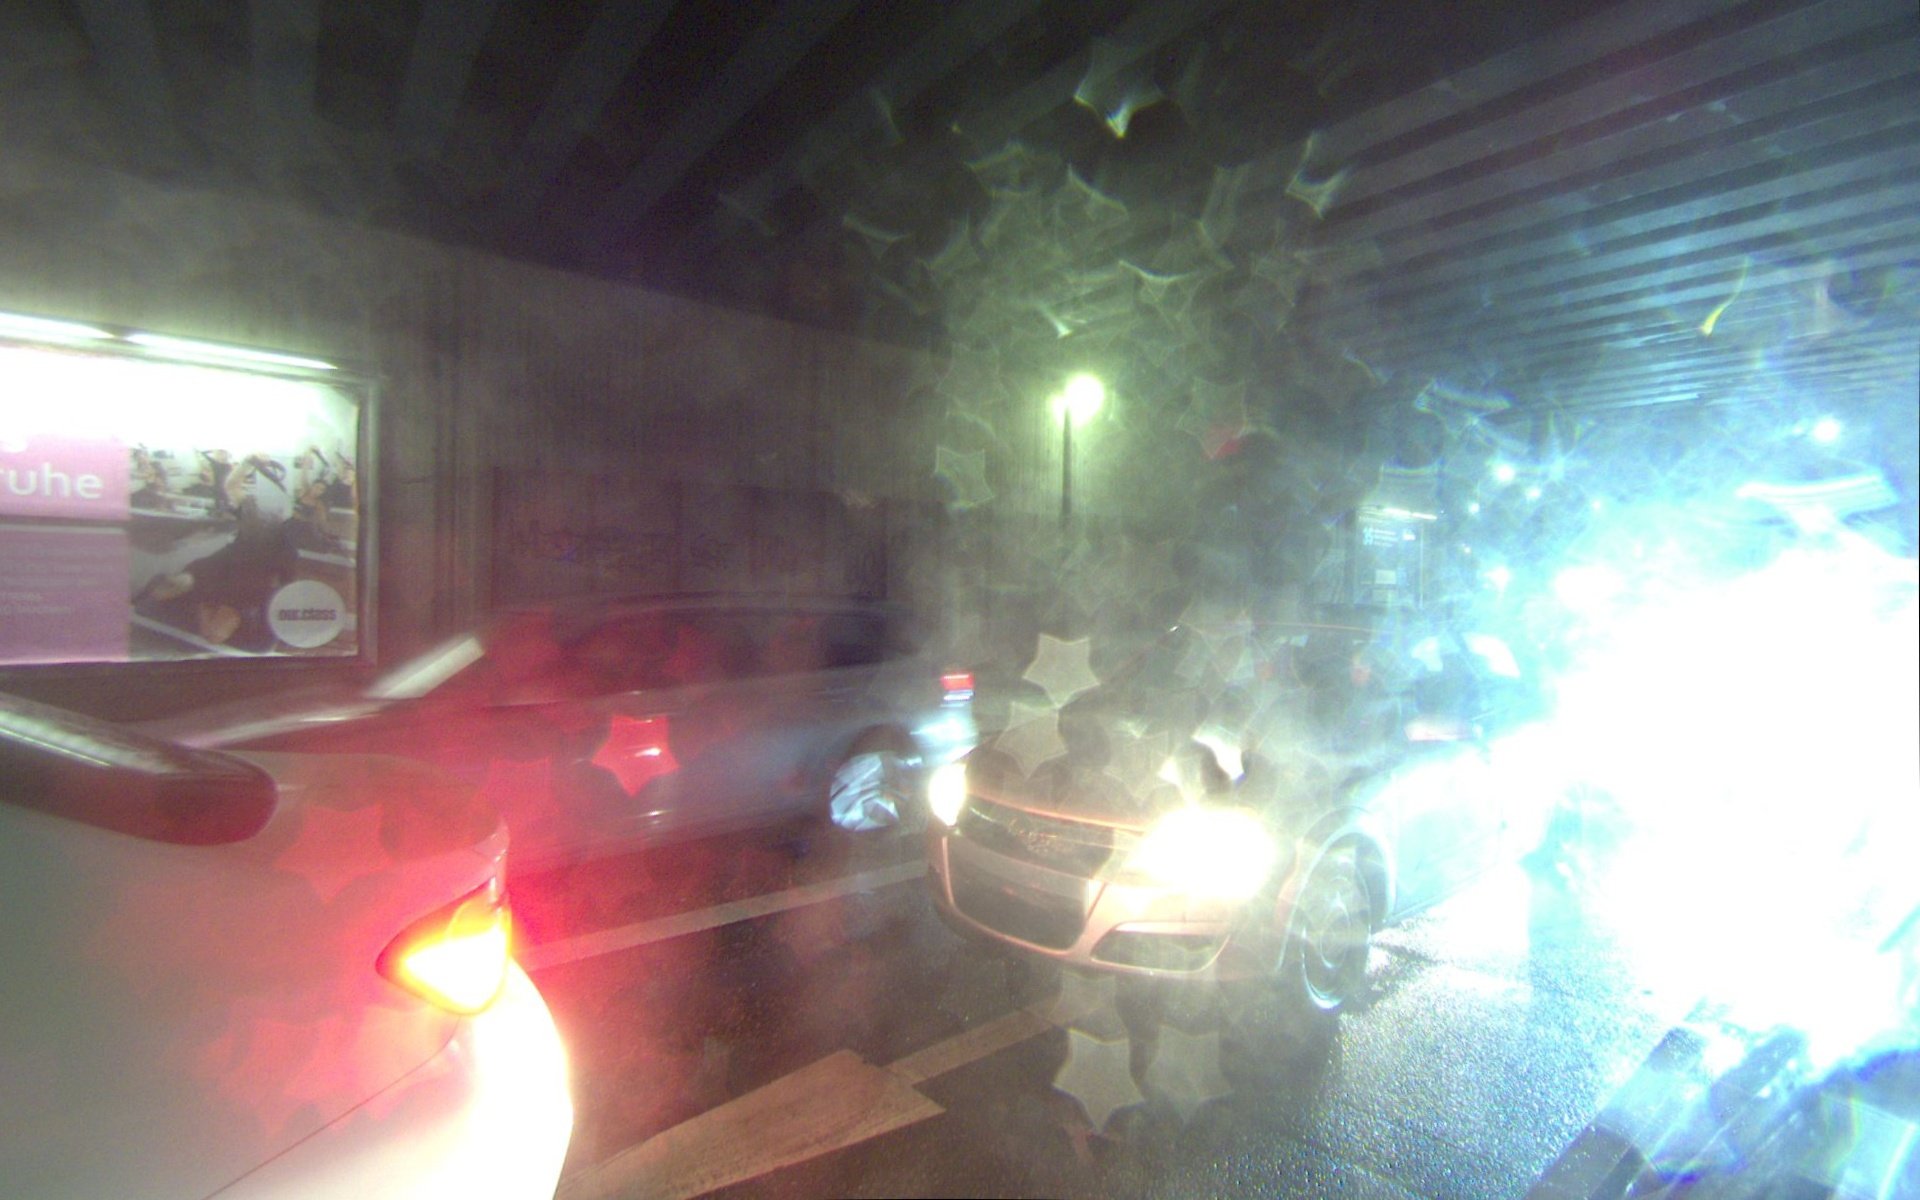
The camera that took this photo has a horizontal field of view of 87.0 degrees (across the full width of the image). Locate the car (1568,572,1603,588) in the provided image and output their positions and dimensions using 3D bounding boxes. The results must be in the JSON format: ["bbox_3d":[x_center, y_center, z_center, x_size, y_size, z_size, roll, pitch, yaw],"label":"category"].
[{"bbox_3d":[60.936,-1.904,98.655,1.855,1.490,3.981,0,0,15],"label":"car"}]

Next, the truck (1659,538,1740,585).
[{"bbox_3d":[69.626,-3.553,95.460,3.910,4.229,6.352,0,0,13],"label":"truck"}]

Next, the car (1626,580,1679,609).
[{"bbox_3d":[36.612,-0.295,53.600,1.865,1.490,3.961,0,0,28],"label":"car"}]

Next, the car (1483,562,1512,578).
[{"bbox_3d":[64.768,-3.573,122.125,1.942,1.763,4.897,0,0,14],"label":"car"}]

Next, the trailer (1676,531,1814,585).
[{"bbox_3d":[68.035,-3.478,88.335,3.909,4.229,13.866,0,0,13],"label":"trailer"}]

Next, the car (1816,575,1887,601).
[{"bbox_3d":[61.757,-0.811,70.208,1.946,1.763,4.887,0,0,20],"label":"car"}]

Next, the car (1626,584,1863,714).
[{"bbox_3d":[10.756,0.553,13.792,3.701,1.531,1.867,-1,0,-41],"label":"car"}]

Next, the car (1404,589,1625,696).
[{"bbox_3d":[9.040,0.583,16.328,4.426,1.474,1.850,0,1,-43],"label":"car"}]

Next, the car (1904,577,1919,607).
[{"bbox_3d":[57.390,-0.462,59.078,1.888,1.763,4.366,0,0,22],"label":"car"}]

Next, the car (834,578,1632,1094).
[{"bbox_3d":[1.546,0.627,4.815,3.931,1.384,1.791,-2,2,-41],"label":"car"}]

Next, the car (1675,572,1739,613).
[{"bbox_3d":[28.944,-0.337,39.308,1.842,1.449,4.447,0,2,35],"label":"car"}]

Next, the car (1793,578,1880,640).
[{"bbox_3d":[24.572,0.217,28.341,1.737,1.610,3.939,0,0,42],"label":"car"}]

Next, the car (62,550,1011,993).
[{"bbox_3d":[-1.961,0.577,5.676,4.551,1.503,1.850,1,1,-43],"label":"car"}]

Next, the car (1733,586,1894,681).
[{"bbox_3d":[15.352,0.519,18.142,3.930,1.522,1.628,-1,0,-41],"label":"car"}]

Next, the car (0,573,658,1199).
[{"bbox_3d":[-2.681,0.691,0.980,4.273,1.422,1.719,-1,0,-41],"label":"car"}]

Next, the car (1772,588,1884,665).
[{"bbox_3d":[18.736,0.500,21.786,1.678,1.490,3.938,0,0,43],"label":"car"}]

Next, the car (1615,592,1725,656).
[{"bbox_3d":[18.961,0.566,26.953,1.847,1.449,4.433,0,2,43],"label":"car"}]

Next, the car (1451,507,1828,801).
[{"bbox_3d":[6.490,0.364,9.470,4.274,2.115,1.996,-1,0,-43],"label":"car"}]
